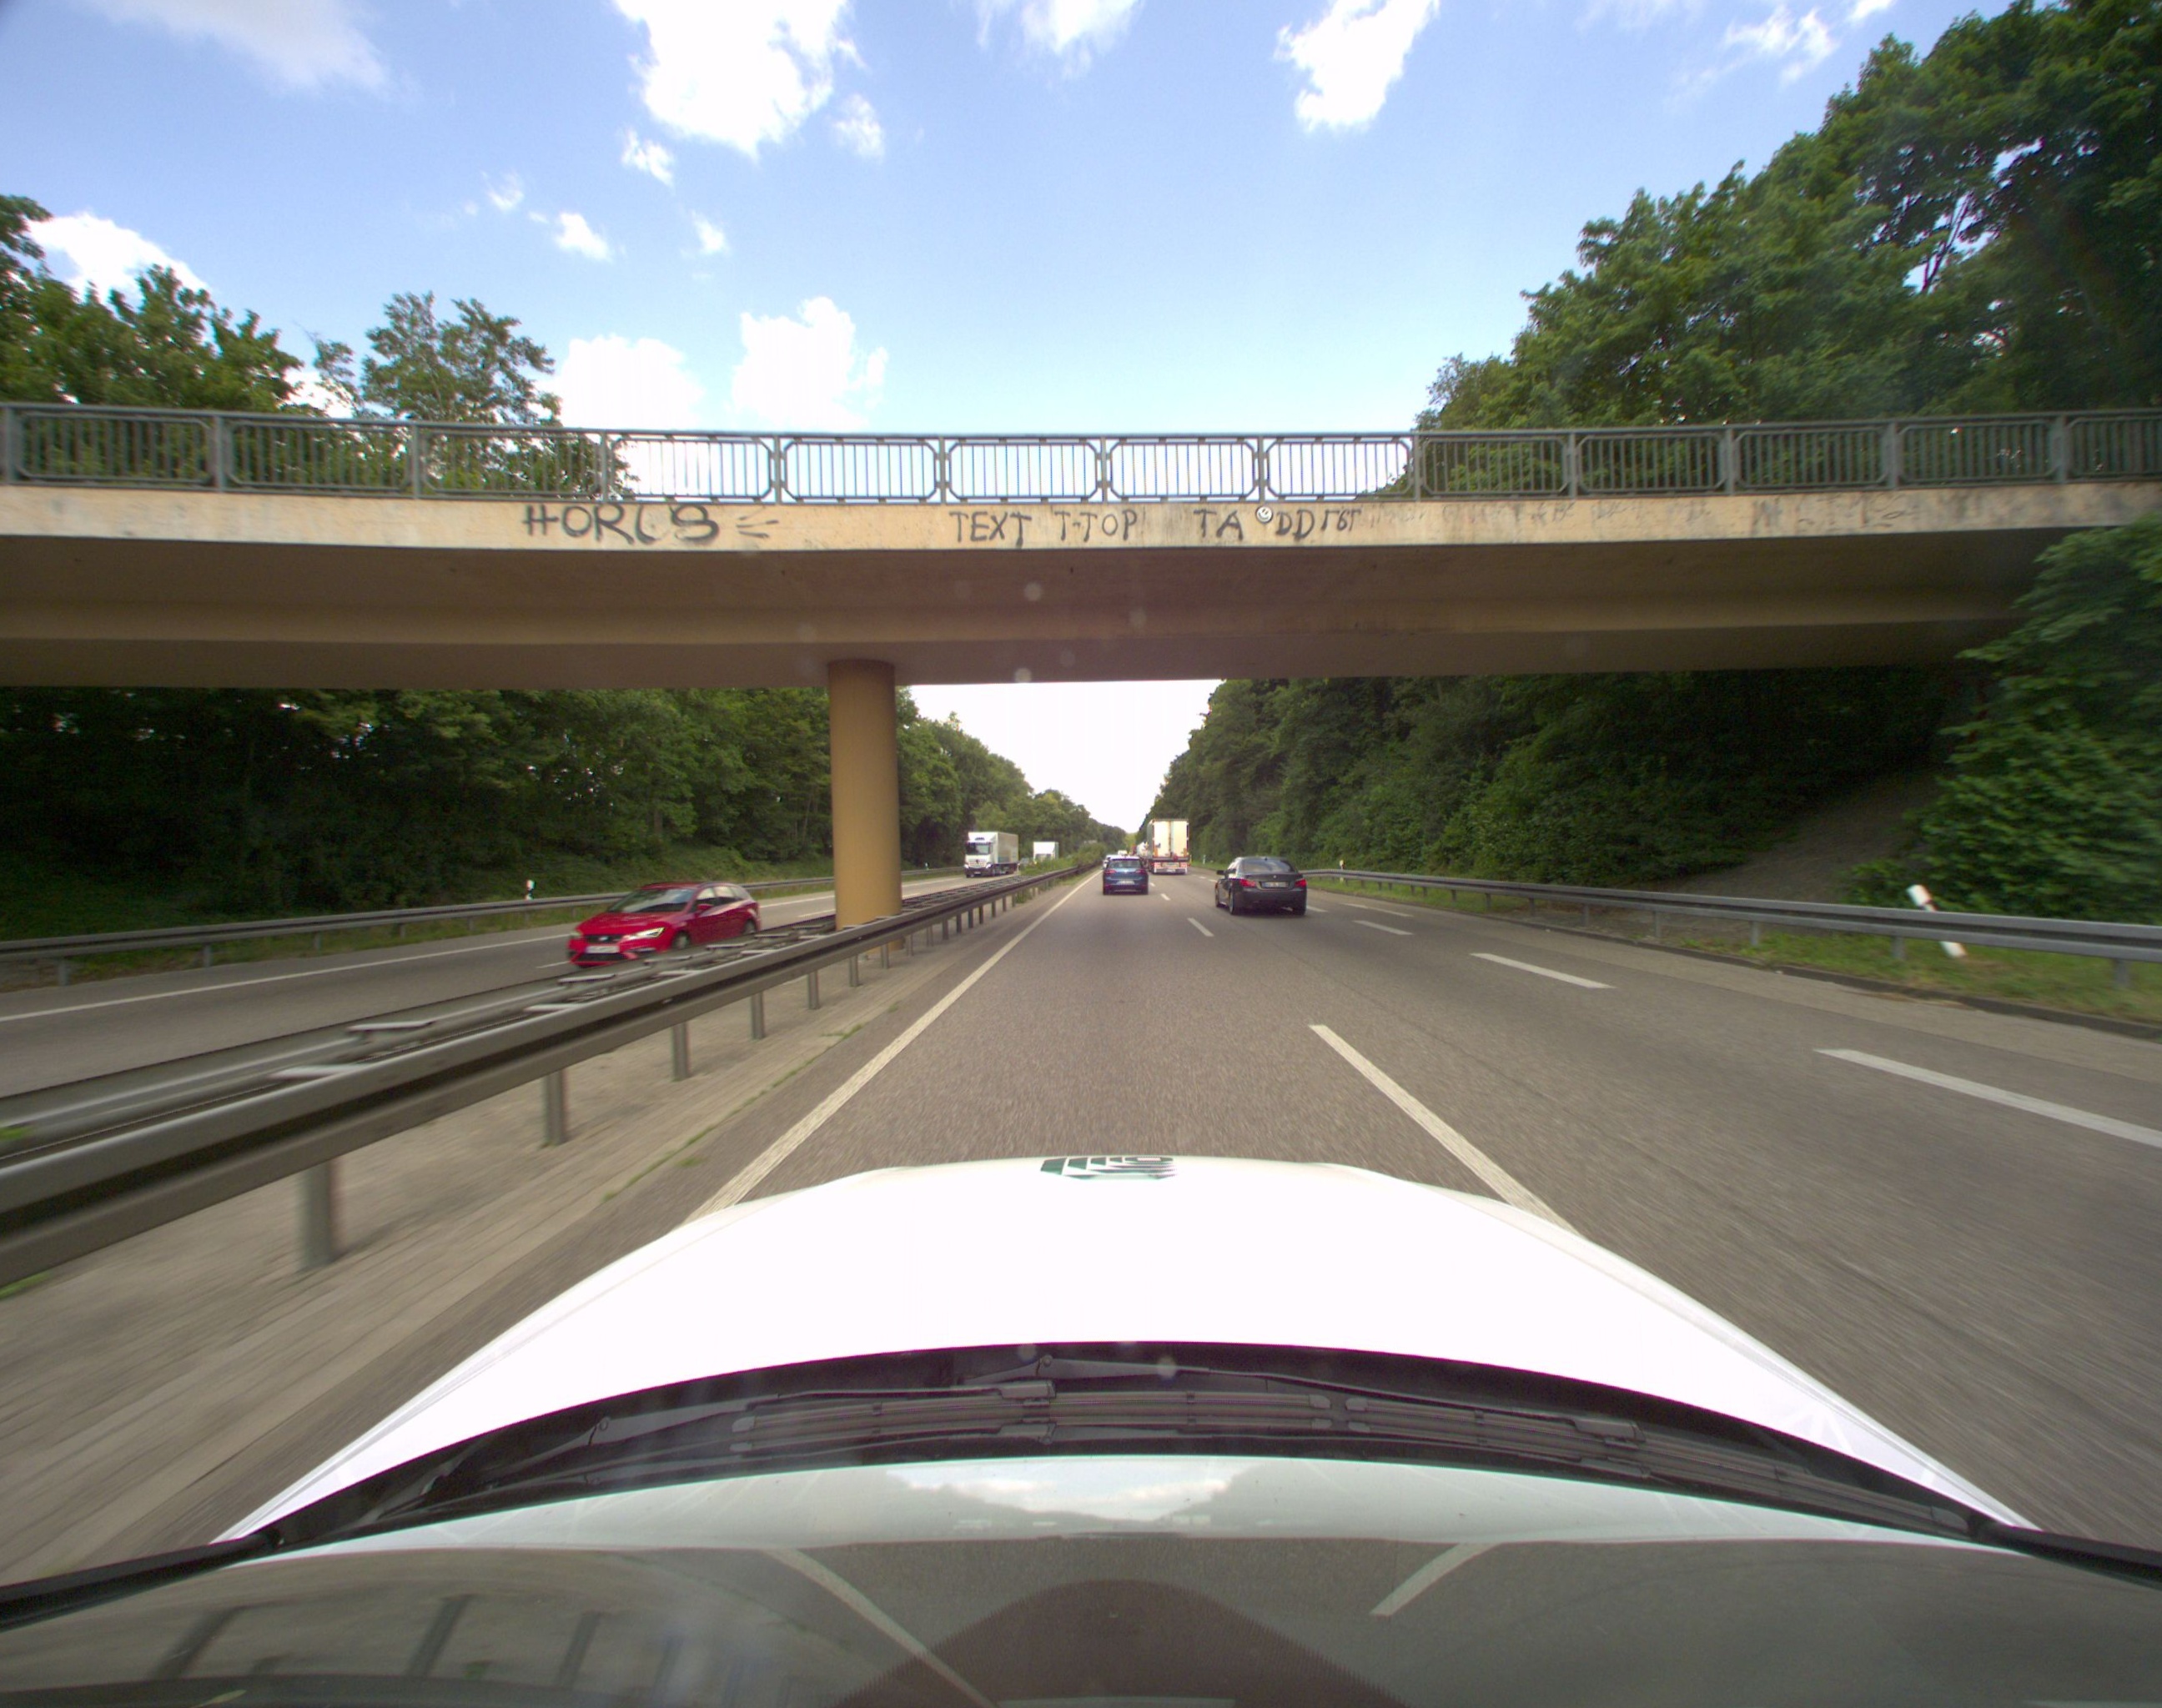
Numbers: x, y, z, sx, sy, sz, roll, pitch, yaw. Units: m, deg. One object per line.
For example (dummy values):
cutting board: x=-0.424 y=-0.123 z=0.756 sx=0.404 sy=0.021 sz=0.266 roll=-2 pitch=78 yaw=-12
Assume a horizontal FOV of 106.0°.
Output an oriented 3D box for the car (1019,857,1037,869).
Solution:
car: x=-6.727 y=1.165 z=104.189 sx=1.727 sy=1.473 sz=4.473 roll=-2 pitch=0 yaw=3

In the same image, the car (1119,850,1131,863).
car: x=7.222 y=0.359 z=133.888 sx=1.946 sy=2.013 sz=4.002 roll=-2 pitch=0 yaw=2

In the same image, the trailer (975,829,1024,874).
trailer: x=-7.949 y=-0.231 z=80.749 sx=3.046 sy=4.042 sz=9.985 roll=-2 pitch=0 yaw=4

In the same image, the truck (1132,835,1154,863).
truck: x=10.185 y=-0.717 z=134.825 sx=3.219 sy=4.386 sz=12.980 roll=-1 pitch=-1 yaw=3

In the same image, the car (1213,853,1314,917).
car: x=4.639 y=0.724 z=21.408 sx=1.767 sy=1.475 sz=4.884 roll=0 pitch=0 yaw=3

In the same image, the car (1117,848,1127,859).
car: x=8.980 y=-0.191 z=177.316 sx=1.987 sy=2.255 sz=4.442 roll=-2 pitch=0 yaw=1

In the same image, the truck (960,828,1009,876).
truck: x=-8.494 y=-0.158 z=72.354 sx=3.027 sy=3.986 sz=6.754 roll=-2 pitch=0 yaw=3

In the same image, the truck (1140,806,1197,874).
truck: x=6.523 y=-1.005 z=62.668 sx=3.231 sy=4.716 sz=11.007 roll=-2 pitch=0 yaw=1

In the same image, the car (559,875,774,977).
car: x=-7.590 y=1.223 z=15.485 sx=1.679 sy=1.476 sz=4.438 roll=-2 pitch=0 yaw=1

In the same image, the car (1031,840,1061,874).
car: x=-3.446 y=0.262 z=82.171 sx=2.279 sy=3.232 sz=7.290 roll=-2 pitch=0 yaw=2

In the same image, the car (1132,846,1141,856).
car: x=13.556 y=-0.810 z=198.349 sx=1.987 sy=2.327 sz=4.442 roll=-2 pitch=0 yaw=1

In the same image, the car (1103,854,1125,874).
car: x=2.703 y=0.784 z=65.656 sx=1.658 sy=1.500 sz=4.156 roll=-1 pitch=0 yaw=3

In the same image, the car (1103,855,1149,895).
car: x=1.752 y=0.787 z=32.030 sx=1.698 sy=1.470 sz=4.003 roll=0 pitch=0 yaw=3
